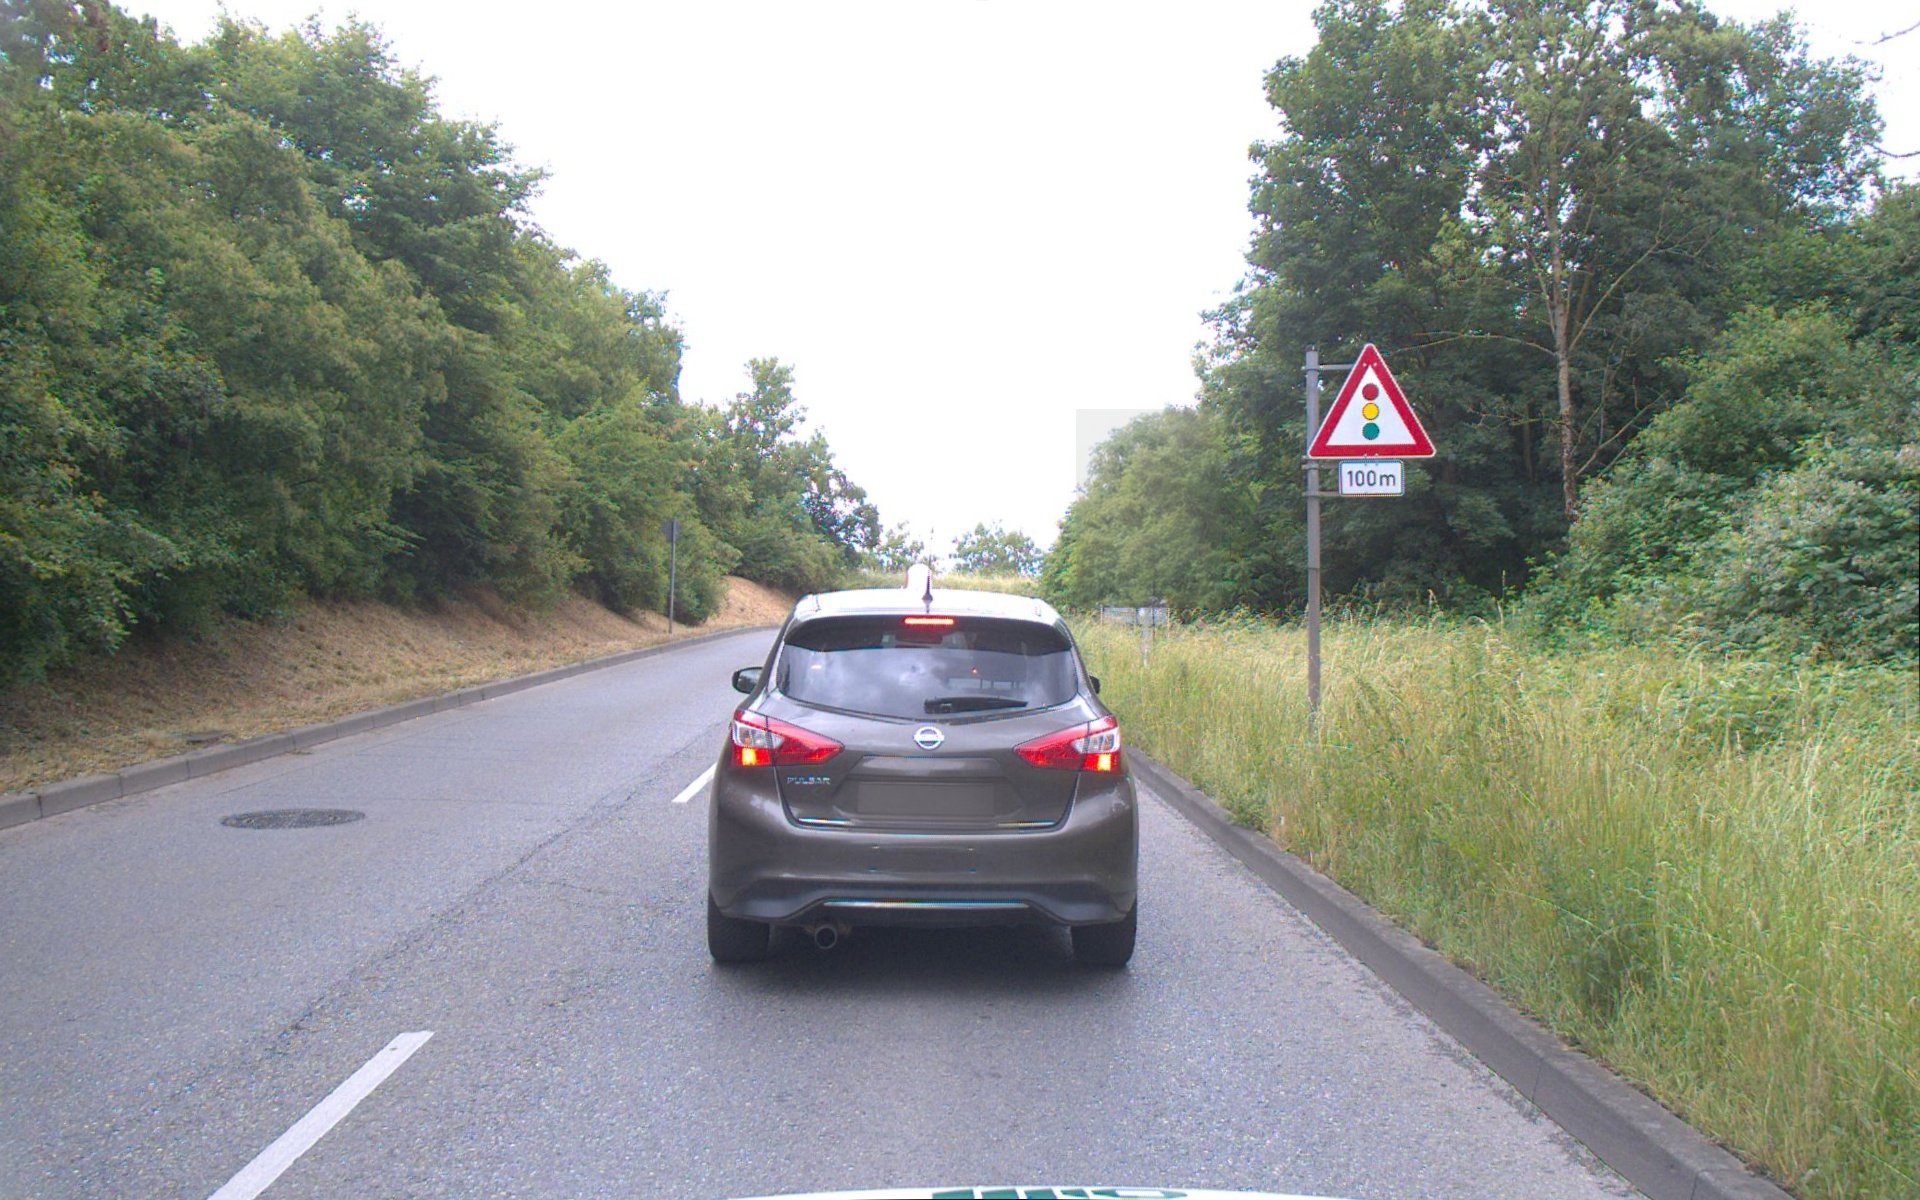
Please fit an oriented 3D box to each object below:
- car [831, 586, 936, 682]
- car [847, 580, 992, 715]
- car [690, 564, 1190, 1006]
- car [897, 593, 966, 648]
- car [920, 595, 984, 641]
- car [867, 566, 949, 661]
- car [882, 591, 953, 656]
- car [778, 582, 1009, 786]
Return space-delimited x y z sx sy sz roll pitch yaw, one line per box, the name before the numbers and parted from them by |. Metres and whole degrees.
car | -1.283 0.548 28.919 1.700 1.583 3.543 0 0 -1
car | -0.498 0.553 21.219 1.700 1.583 3.543 0 0 -1
car | -0.143 0.668 7.734 1.793 1.583 3.497 1 0 -3
car | -0.802 0.572 49.095 1.699 1.553 3.643 0 0 5
car | -0.259 0.609 58.640 1.699 1.553 3.644 0 0 9
car | -1.089 0.264 36.096 1.700 1.968 3.543 0 0 -1
car | -1.086 0.560 41.462 1.701 1.553 3.542 0 0 -2
car | -0.537 0.645 14.659 1.793 1.583 3.624 0 0 -1
